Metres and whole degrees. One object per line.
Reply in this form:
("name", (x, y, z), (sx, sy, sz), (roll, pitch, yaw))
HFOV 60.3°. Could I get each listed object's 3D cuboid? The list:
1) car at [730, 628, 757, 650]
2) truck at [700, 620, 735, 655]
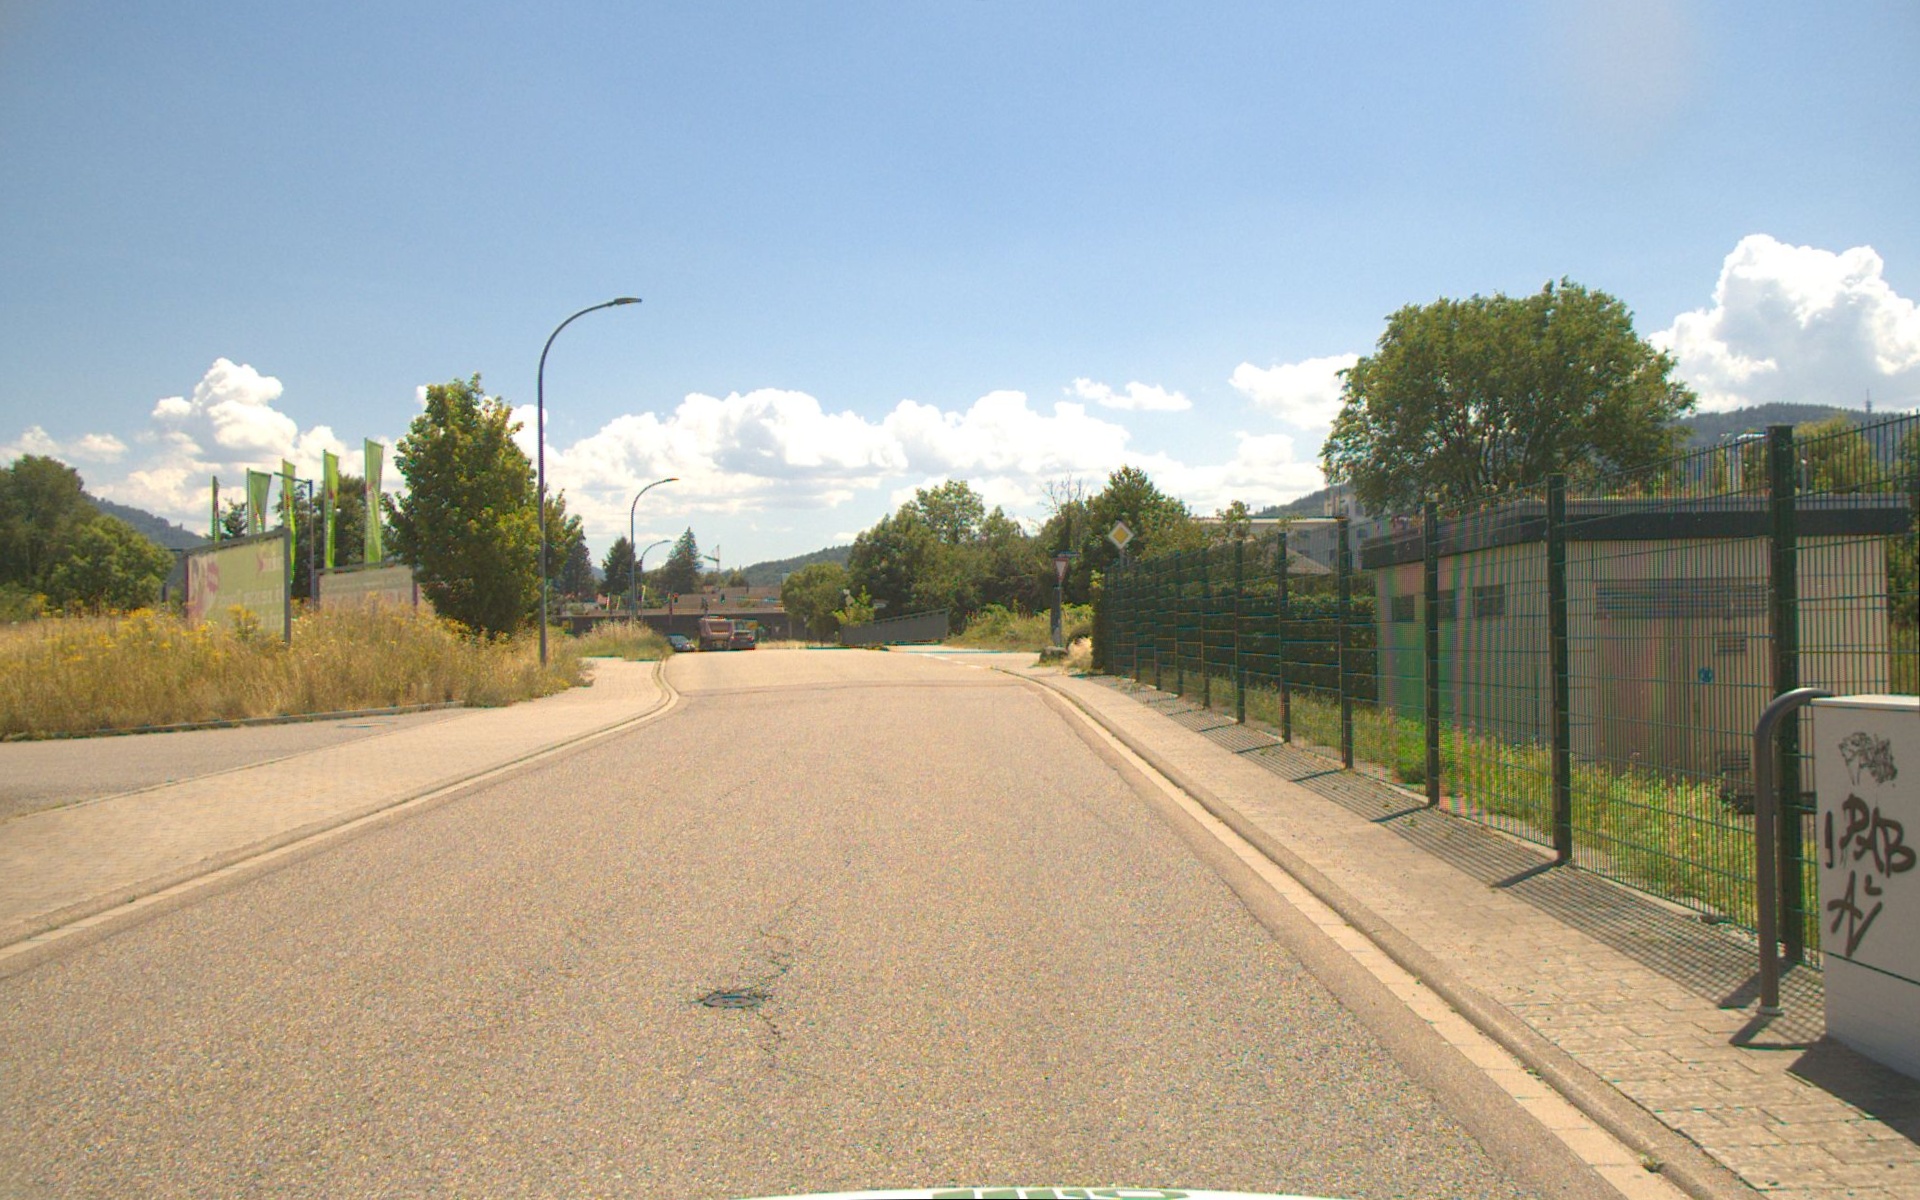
("car", (-15.432, 2.731, 117.637), (1.744, 1.473, 3.443), (0, 0, -11))
("truck", (-20.360, 3.105, 138.585), (2.634, 2.821, 6.073), (0, 0, -11))
